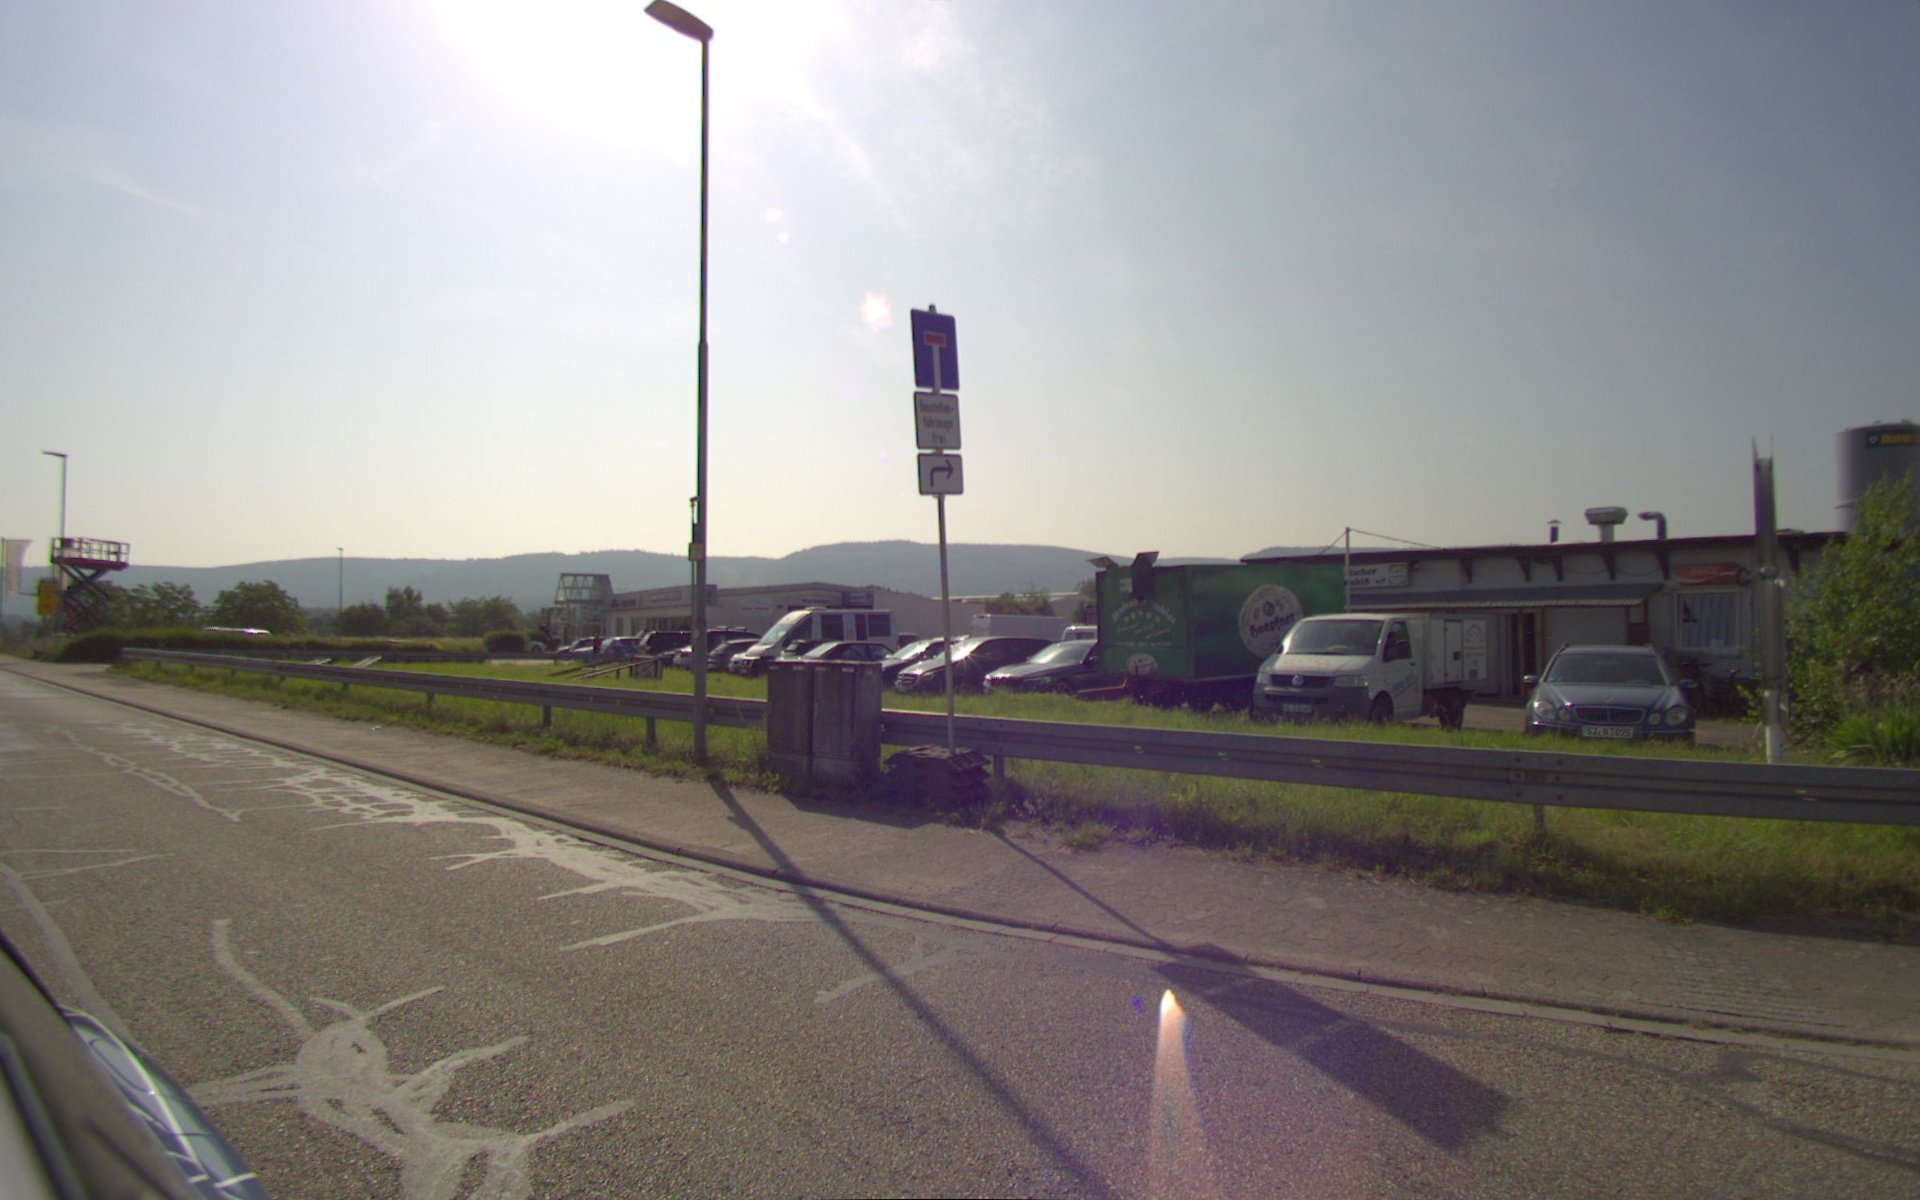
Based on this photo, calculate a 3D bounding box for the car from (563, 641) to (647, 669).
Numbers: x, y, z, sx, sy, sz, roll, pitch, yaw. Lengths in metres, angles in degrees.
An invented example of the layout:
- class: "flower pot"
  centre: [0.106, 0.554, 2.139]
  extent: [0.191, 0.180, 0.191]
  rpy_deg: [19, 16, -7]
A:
- class: "car"
  centre: [-20.210, 3.108, 57.668]
  extent: [4.089, 1.547, 1.887]
  rpy_deg: [2, -3, -37]

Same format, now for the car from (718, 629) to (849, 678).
- class: "car"
  centre: [-6.393, 1.956, 36.756]
  extent: [4.328, 1.676, 1.812]
  rpy_deg: [2, -4, -30]

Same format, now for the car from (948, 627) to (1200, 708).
- class: "car"
  centre: [2.488, 1.437, 21.739]
  extent: [5.055, 1.546, 2.184]
  rpy_deg: [2, -4, -30]

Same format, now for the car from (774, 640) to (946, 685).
- class: "car"
  centre: [-2.872, 1.814, 29.331]
  extent: [4.616, 1.228, 1.836]
  rpy_deg: [2, -4, -30]

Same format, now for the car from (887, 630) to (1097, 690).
- class: "car"
  centre: [0.818, 1.450, 24.484]
  extent: [4.882, 1.328, 1.784]
  rpy_deg: [2, -4, -30]

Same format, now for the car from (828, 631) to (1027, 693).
- class: "car"
  centre: [-0.850, 1.680, 27.514]
  extent: [5.055, 1.546, 2.032]
  rpy_deg: [2, -4, -30]

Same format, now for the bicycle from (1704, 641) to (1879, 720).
- class: "bicycle"
  centre: [14.666, 1.380, 17.925]
  extent: [0.715, 1.314, 2.265]
  rpy_deg: [2, -3, -34]

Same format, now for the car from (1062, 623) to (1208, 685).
- class: "car"
  centre: [5.409, 1.619, 31.785]
  extent: [1.966, 1.689, 4.541]
  rpy_deg: [-1, 0, -32]

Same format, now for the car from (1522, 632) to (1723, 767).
- class: "car"
  centre: [9.030, 1.226, 14.054]
  extent: [1.956, 1.521, 4.787]
  rpy_deg: [-1, -3, 31]

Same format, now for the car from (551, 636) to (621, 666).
- class: "car"
  centre: [-24.160, 3.326, 65.441]
  extent: [4.026, 1.887, 1.822]
  rpy_deg: [2, -3, -26]

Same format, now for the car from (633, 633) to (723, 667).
- class: "car"
  centre: [-13.126, 2.341, 47.191]
  extent: [3.627, 1.533, 1.688]
  rpy_deg: [2, -3, -37]

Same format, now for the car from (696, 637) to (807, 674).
- class: "car"
  centre: [-7.933, 2.115, 38.609]
  extent: [3.695, 1.318, 1.811]
  rpy_deg: [2, -3, -35]

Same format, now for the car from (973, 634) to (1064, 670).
- class: "car"
  centre: [2.529, 2.218, 43.462]
  extent: [3.605, 1.475, 1.768]
  rpy_deg: [2, -3, -34]

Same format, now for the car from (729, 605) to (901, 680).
- class: "car"
  centre: [-4.898, 1.490, 34.497]
  extent: [5.313, 2.391, 2.300]
  rpy_deg: [2, -4, -30]

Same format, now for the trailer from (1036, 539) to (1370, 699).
- class: "trailer"
  centre: [4.792, 0.457, 19.547]
  extent: [6.222, 2.625, 2.861]
  rpy_deg: [2, -3, -35]

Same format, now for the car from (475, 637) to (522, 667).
- class: "car"
  centre: [-33.057, 3.709, 72.403]
  extent: [1.969, 2.029, 4.163]
  rpy_deg: [3, -4, -40]

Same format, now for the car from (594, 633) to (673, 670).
- class: "car"
  centre: [-18.008, 2.825, 55.854]
  extent: [3.712, 1.809, 1.937]
  rpy_deg: [-1, 0, -36]

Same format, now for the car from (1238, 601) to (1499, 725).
- class: "car"
  centre: [6.855, 1.005, 16.647]
  extent: [5.199, 1.719, 2.002]
  rpy_deg: [3, -4, -43]

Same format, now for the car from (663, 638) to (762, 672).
- class: "car"
  centre: [-10.529, 2.331, 43.085]
  extent: [3.695, 1.399, 1.734]
  rpy_deg: [2, -3, -35]

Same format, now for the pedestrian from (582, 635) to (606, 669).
- class: "pedestrian"
  centre: [-19.579, 2.777, 54.139]
  extent: [0.993, 1.767, 0.828]
  rpy_deg: [-1, 0, 44]

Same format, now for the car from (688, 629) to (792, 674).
- class: "car"
  centre: [-8.874, 2.081, 40.832]
  extent: [3.695, 1.764, 1.753]
  rpy_deg: [2, -3, -35]

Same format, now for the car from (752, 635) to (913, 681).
- class: "car"
  centre: [-4.016, 1.849, 32.133]
  extent: [4.684, 1.364, 1.927]
  rpy_deg: [2, -4, -30]

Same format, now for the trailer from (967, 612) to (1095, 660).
- class: "trailer"
  centre: [3.349, 1.734, 47.535]
  extent: [5.667, 2.141, 2.224]
  rpy_deg: [2, -3, -28]

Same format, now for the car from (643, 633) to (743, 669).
- class: "car"
  centre: [-11.877, 2.267, 45.150]
  extent: [3.935, 1.533, 1.688]
  rpy_deg: [2, -3, -37]
